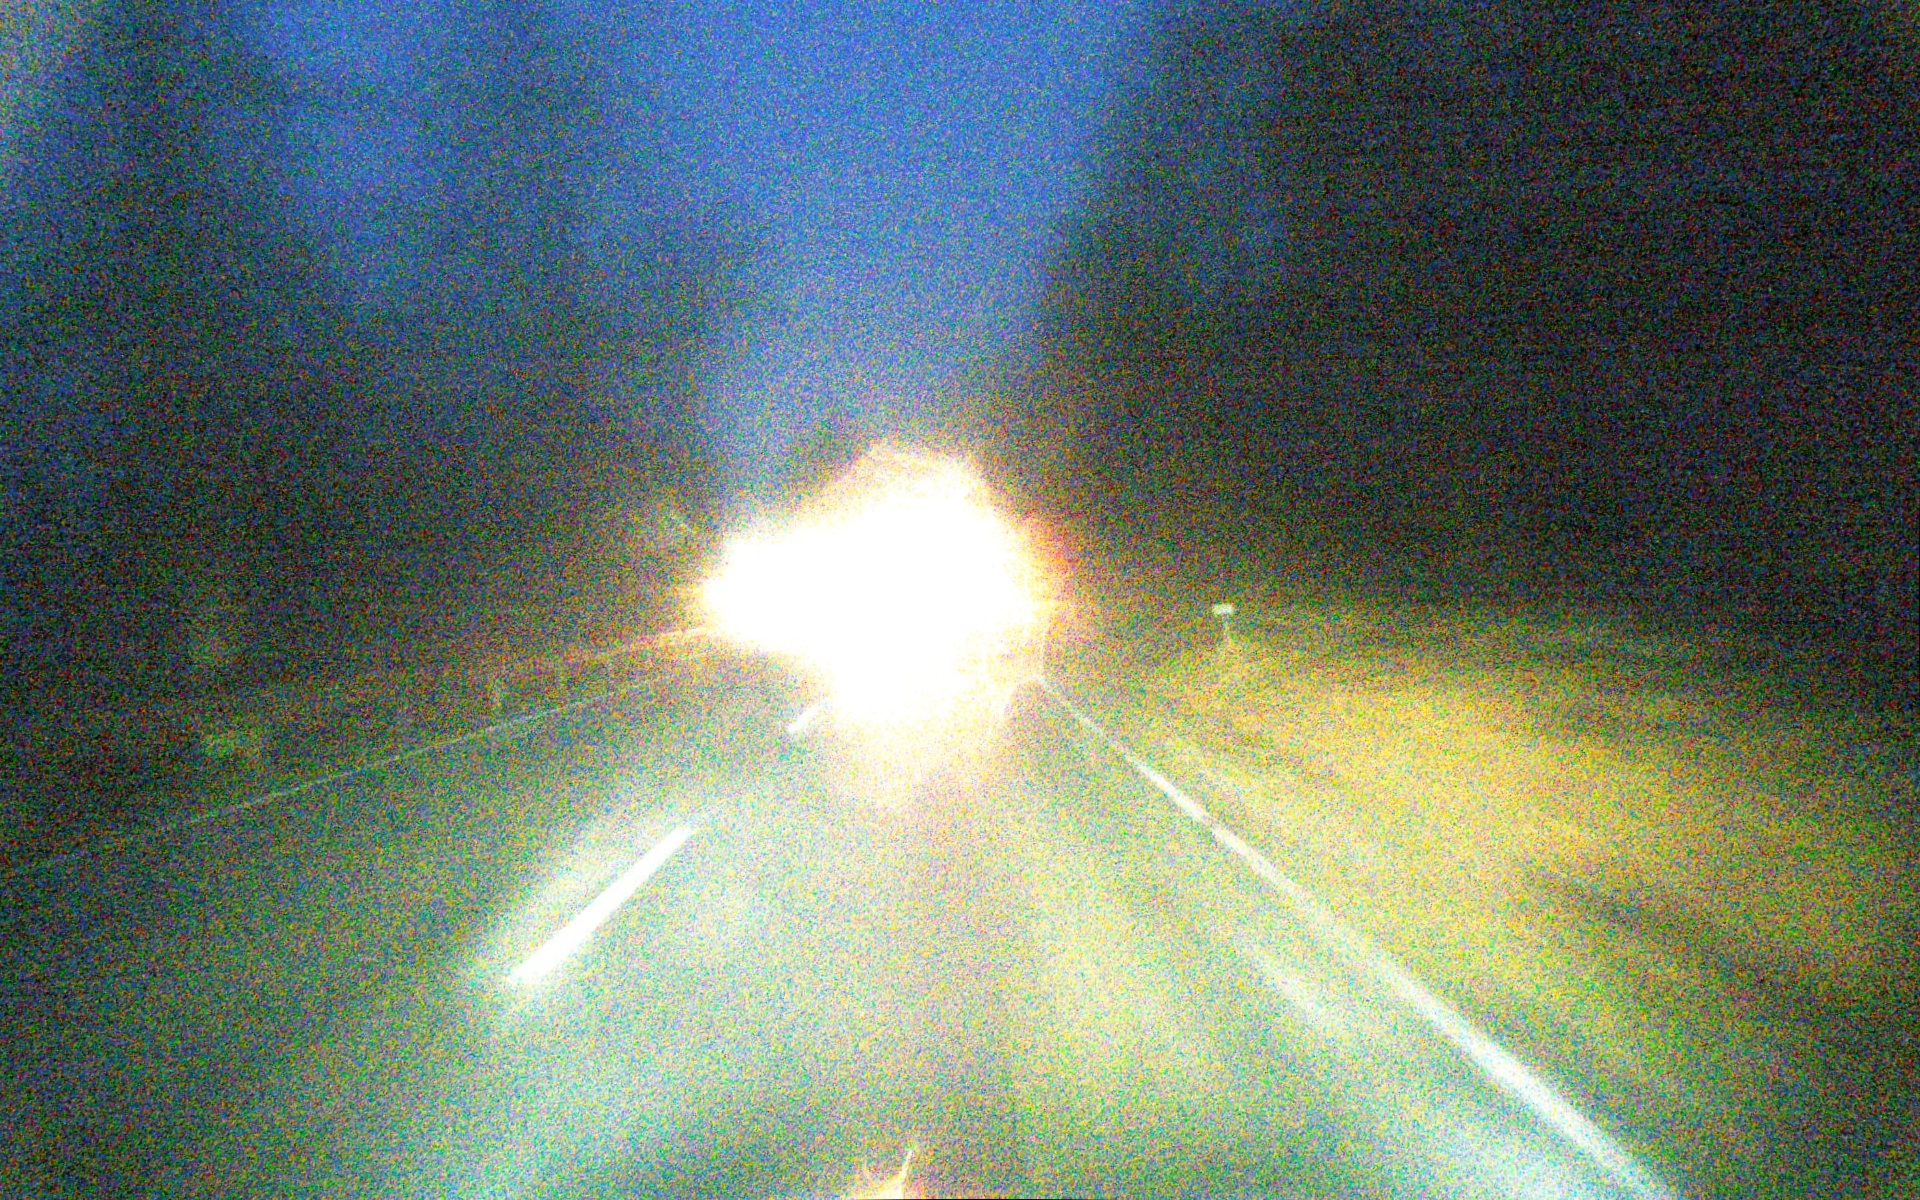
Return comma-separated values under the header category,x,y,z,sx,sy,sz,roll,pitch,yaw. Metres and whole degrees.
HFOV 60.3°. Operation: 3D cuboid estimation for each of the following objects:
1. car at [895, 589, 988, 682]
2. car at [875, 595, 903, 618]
category,x,y,z,sx,sy,sz,roll,pitch,yaw
car,-0.459,0.761,37.710,1.953,1.838,3.917,-2,2,-2
car,-5.471,0.477,127.002,1.604,1.608,3.736,-2,2,-10
